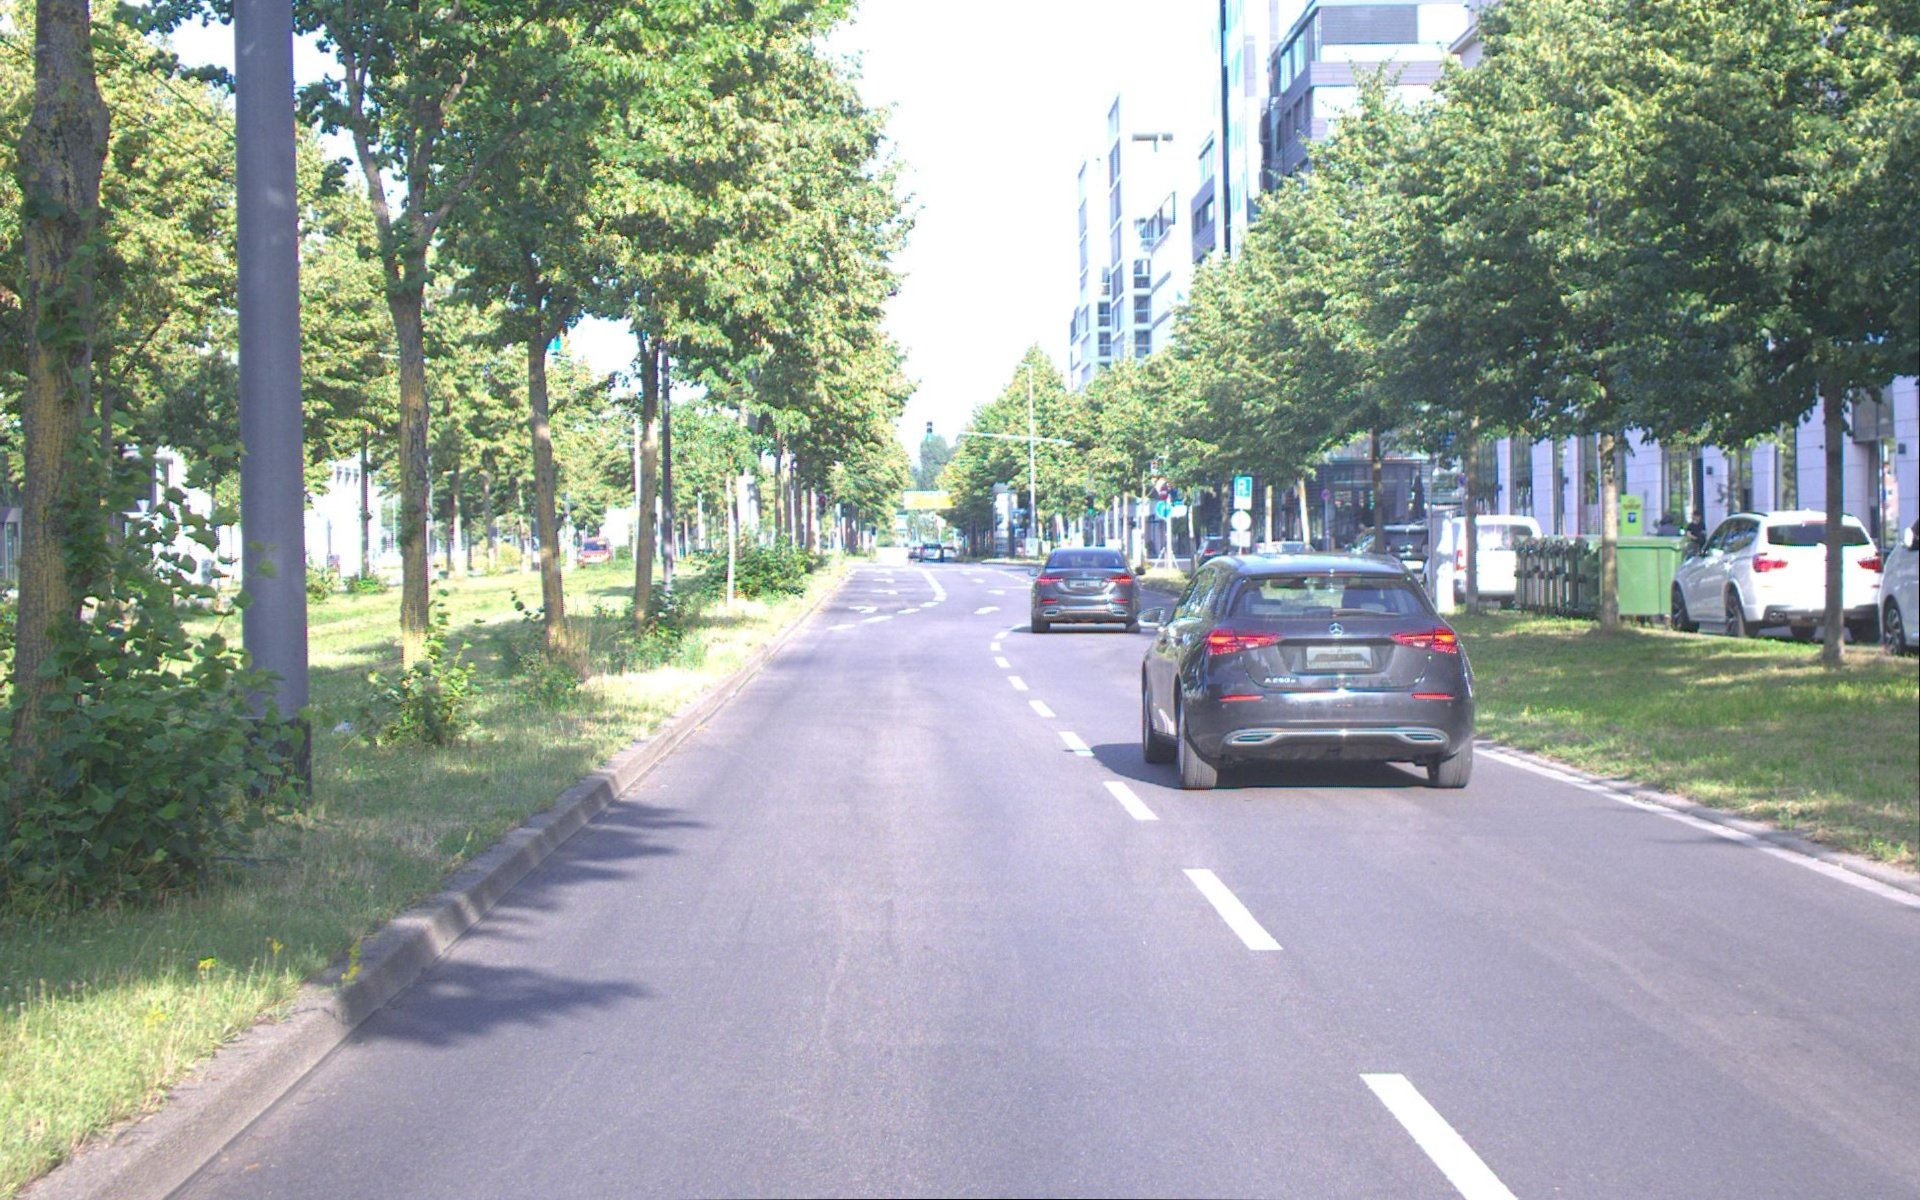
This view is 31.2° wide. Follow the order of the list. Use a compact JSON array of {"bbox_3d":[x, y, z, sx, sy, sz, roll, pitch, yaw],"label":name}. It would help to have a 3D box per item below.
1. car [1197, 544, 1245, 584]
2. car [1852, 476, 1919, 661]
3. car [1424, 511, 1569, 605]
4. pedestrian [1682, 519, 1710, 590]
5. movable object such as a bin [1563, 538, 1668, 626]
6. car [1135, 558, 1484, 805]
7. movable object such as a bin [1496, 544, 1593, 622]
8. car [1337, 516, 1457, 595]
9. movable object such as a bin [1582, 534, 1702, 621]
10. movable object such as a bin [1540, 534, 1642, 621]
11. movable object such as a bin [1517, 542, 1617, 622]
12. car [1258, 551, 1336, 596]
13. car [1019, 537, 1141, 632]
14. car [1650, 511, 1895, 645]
[{"bbox_3d":[9.094,-1.243,119.834,1.607,1.366,4.157,1,0,4],"label":"car"},{"bbox_3d":[10.633,-0.303,34.320,1.837,1.869,5.032,1,0,-4],"label":"car"},{"bbox_3d":[10.218,-0.800,65.730,1.827,1.706,4.297,1,0,-4],"label":"car"},{"bbox_3d":[18.326,-1.121,85.603,0.537,1.757,0.646,1,0,-1],"label":"pedestrian"},{"bbox_3d":[9.856,-0.274,51.734,1.277,1.297,1.191,1,0,-4],"label":"movable object such as a bin"},{"bbox_3d":[2.140,0.460,22.047,1.774,1.419,3.961,1,0,-1],"label":"car"},{"bbox_3d":[9.479,-0.276,55.793,1.277,1.232,1.191,1,0,-4],"label":"movable object such as a bin"},{"bbox_3d":[9.859,-1.042,77.894,1.897,1.702,4.678,1,1,-3],"label":"car"},{"bbox_3d":[9.973,-0.325,50.241,1.400,1.232,1.334,1,0,26],"label":"movable object such as a bin"},{"bbox_3d":[9.733,-0.346,53.075,1.277,1.313,1.191,1,0,-4],"label":"movable object such as a bin"},{"bbox_3d":[9.605,-0.289,54.433,1.277,1.232,1.191,1,0,-4],"label":"movable object such as a bin"},{"bbox_3d":[9.666,-0.763,98.703,1.708,1.238,3.906,1,0,-2],"label":"car"},{"bbox_3d":[1.990,-0.273,58.025,1.859,1.519,3.786,1,0,-1],"label":"car"},{"bbox_3d":[10.471,-0.312,44.649,1.730,1.624,4.851,-1,1,-4],"label":"car"}]
